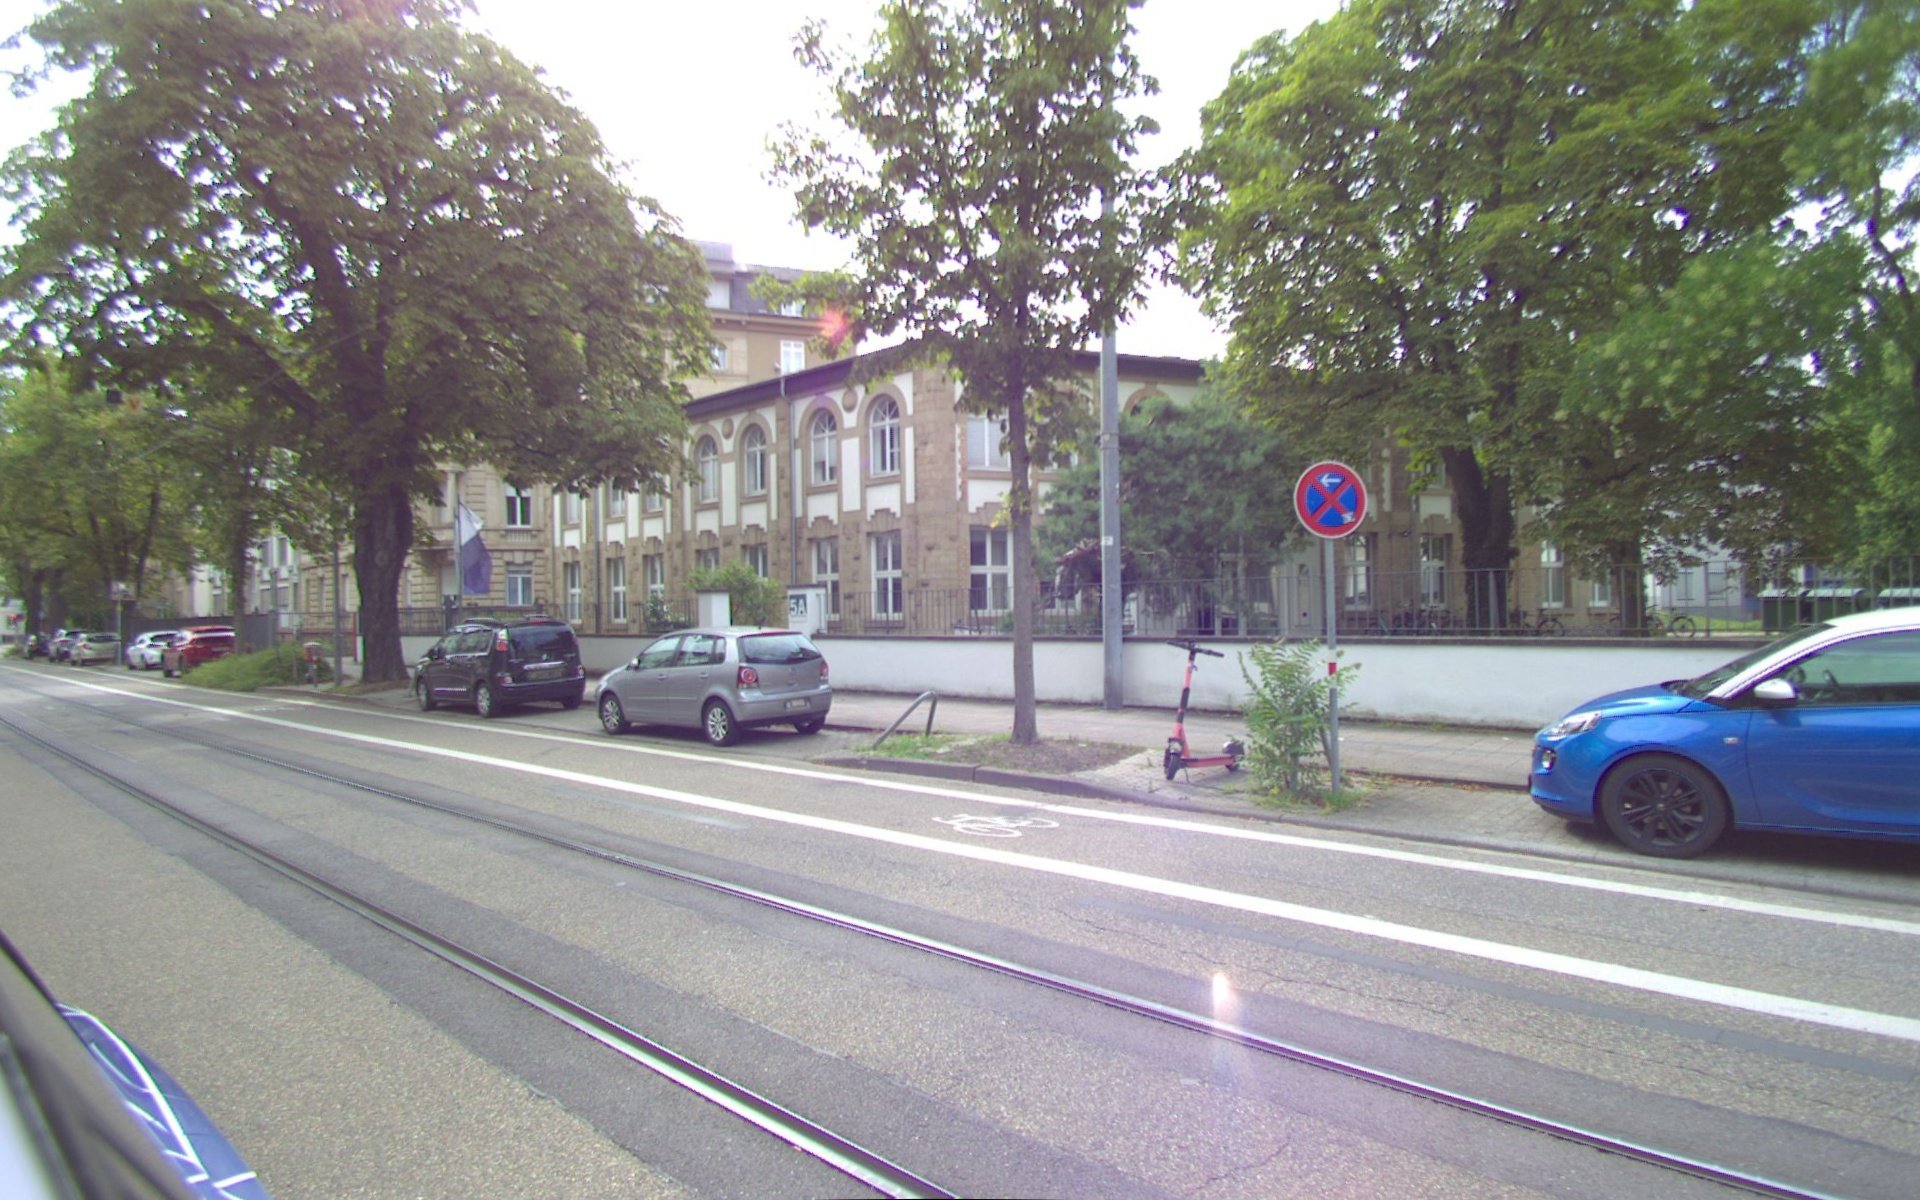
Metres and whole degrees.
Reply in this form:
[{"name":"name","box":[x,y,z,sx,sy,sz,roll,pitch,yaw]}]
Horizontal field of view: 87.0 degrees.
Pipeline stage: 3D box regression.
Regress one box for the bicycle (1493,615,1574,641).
[{"name":"bicycle","box":[17.240,0.850,30.451,2.042,0.713,0.706,-2,-1,35]}]

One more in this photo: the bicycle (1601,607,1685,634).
[{"name":"bicycle","box":[21.256,0.650,31.556,0.702,0.779,2.053,-2,-1,-28]}]

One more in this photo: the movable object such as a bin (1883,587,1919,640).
[{"name":"movable object such as a bin","box":[25.499,0.343,26.833,0.846,1.385,1.208,-2,-1,-22]}]

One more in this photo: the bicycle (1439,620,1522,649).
[{"name":"bicycle","box":[14.920,0.976,29.081,0.702,0.779,2.053,-2,-1,-28]}]

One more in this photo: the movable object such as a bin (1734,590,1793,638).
[{"name":"movable object such as a bin","box":[24.104,0.416,30.368,0.954,1.385,1.024,-2,-1,-22]}]

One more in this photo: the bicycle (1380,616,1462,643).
[{"name":"bicycle","box":[12.838,0.825,28.272,0.702,0.713,2.053,-2,0,-28]}]

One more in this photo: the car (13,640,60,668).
[{"name":"car","box":[-54.043,3.149,59.194,4.166,1.435,1.701,-2,1,43]}]

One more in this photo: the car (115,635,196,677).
[{"name":"car","box":[-31.461,2.170,39.547,4.021,1.434,1.704,-2,1,41]}]

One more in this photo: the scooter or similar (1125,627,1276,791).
[{"name":"scooter or similar","box":[2.195,0.923,9.157,0.700,1.354,1.428,-2,-3,43]}]

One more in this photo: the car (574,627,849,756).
[{"name":"car","box":[-3.445,1.132,13.696,3.866,1.438,1.675,-2,0,41]}]

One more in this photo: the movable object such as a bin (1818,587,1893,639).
[{"name":"movable object such as a bin","box":[24.904,0.372,28.165,0.954,1.385,1.208,-2,-1,-22]}]

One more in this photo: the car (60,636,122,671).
[{"name":"car","box":[-39.467,2.402,45.939,4.077,1.479,1.584,-2,-1,41]}]

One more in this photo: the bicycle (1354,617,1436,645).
[{"name":"bicycle","box":[11.969,0.853,27.912,0.702,0.713,2.053,-2,0,-28]}]

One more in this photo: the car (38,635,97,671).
[{"name":"car","box":[-45.168,2.682,51.194,4.355,1.686,1.692,-2,-1,41]}]

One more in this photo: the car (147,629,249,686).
[{"name":"car","box":[-25.227,1.852,33.447,4.539,1.667,1.704,-2,1,41]}]

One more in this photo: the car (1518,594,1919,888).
[{"name":"car","box":[5.515,0.730,5.894,3.675,1.498,1.675,-2,0,41]}]

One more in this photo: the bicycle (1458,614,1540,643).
[{"name":"bicycle","box":[15.725,0.836,29.574,0.702,0.779,2.053,-2,-1,-28]}]

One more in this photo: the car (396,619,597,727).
[{"name":"car","box":[-8.363,1.226,18.109,4.050,1.659,1.738,-2,0,41]}]

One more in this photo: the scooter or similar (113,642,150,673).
[{"name":"scooter or similar","box":[-34.076,2.355,41.628,1.313,1.232,0.559,-2,-1,18]}]

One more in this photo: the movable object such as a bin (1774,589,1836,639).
[{"name":"movable object such as a bin","box":[24.494,0.395,29.346,0.954,1.385,1.024,-2,-1,-22]}]
